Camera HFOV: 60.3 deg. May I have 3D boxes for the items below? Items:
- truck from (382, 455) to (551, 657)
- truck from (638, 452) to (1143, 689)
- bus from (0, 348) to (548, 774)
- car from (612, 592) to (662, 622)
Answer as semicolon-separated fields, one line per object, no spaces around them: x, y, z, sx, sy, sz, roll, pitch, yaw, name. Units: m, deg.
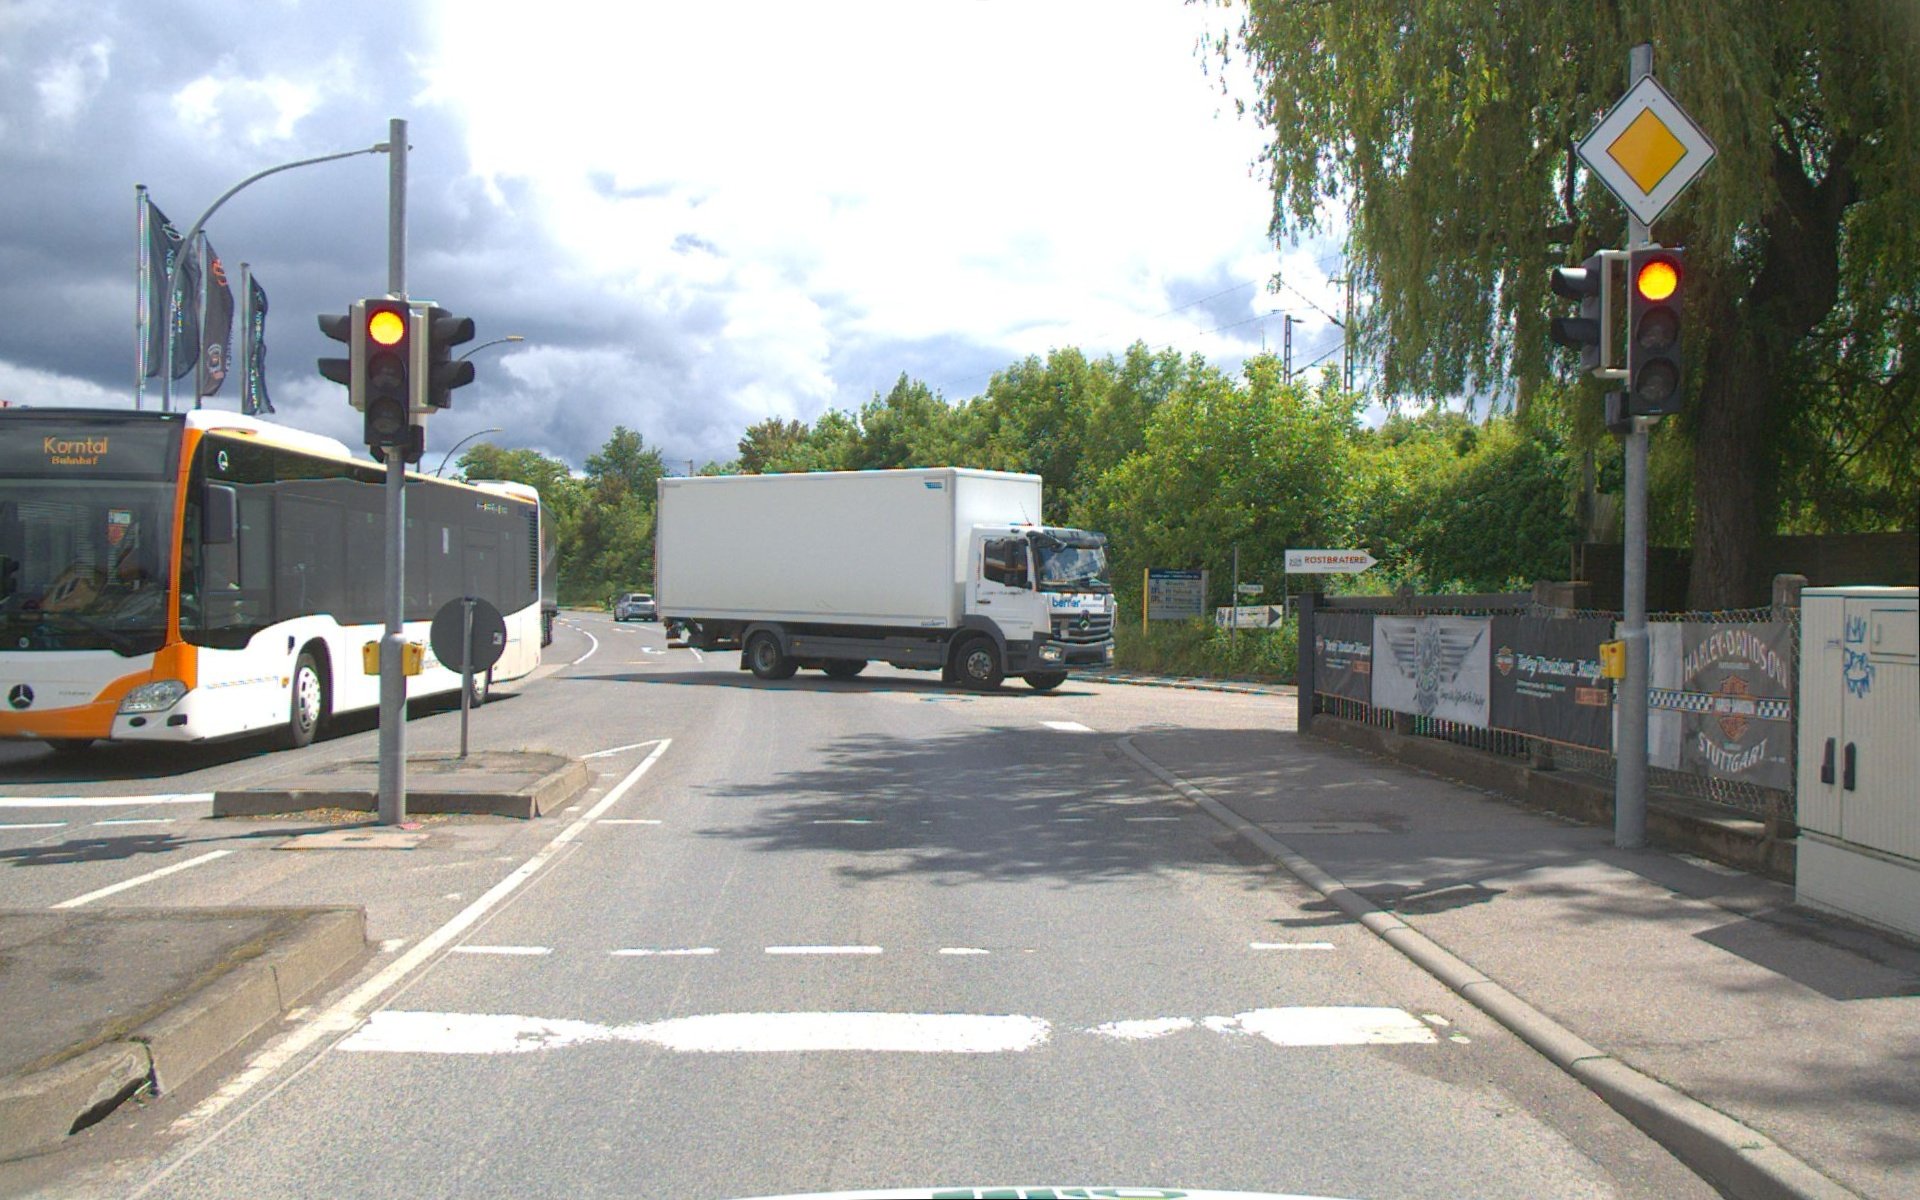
-11.707;-0.929;40.012;2.383;4.203;9.133;3;0;-8;truck
-1.529;-0.475;29.301;9.542;3.603;2.834;1;0;40;truck
-7.500;-0.295;18.958;2.721;3.323;12.120;0;0;-1;bus
-17.051;0.356;87.131;1.859;1.535;3.973;1;0;-22;car
